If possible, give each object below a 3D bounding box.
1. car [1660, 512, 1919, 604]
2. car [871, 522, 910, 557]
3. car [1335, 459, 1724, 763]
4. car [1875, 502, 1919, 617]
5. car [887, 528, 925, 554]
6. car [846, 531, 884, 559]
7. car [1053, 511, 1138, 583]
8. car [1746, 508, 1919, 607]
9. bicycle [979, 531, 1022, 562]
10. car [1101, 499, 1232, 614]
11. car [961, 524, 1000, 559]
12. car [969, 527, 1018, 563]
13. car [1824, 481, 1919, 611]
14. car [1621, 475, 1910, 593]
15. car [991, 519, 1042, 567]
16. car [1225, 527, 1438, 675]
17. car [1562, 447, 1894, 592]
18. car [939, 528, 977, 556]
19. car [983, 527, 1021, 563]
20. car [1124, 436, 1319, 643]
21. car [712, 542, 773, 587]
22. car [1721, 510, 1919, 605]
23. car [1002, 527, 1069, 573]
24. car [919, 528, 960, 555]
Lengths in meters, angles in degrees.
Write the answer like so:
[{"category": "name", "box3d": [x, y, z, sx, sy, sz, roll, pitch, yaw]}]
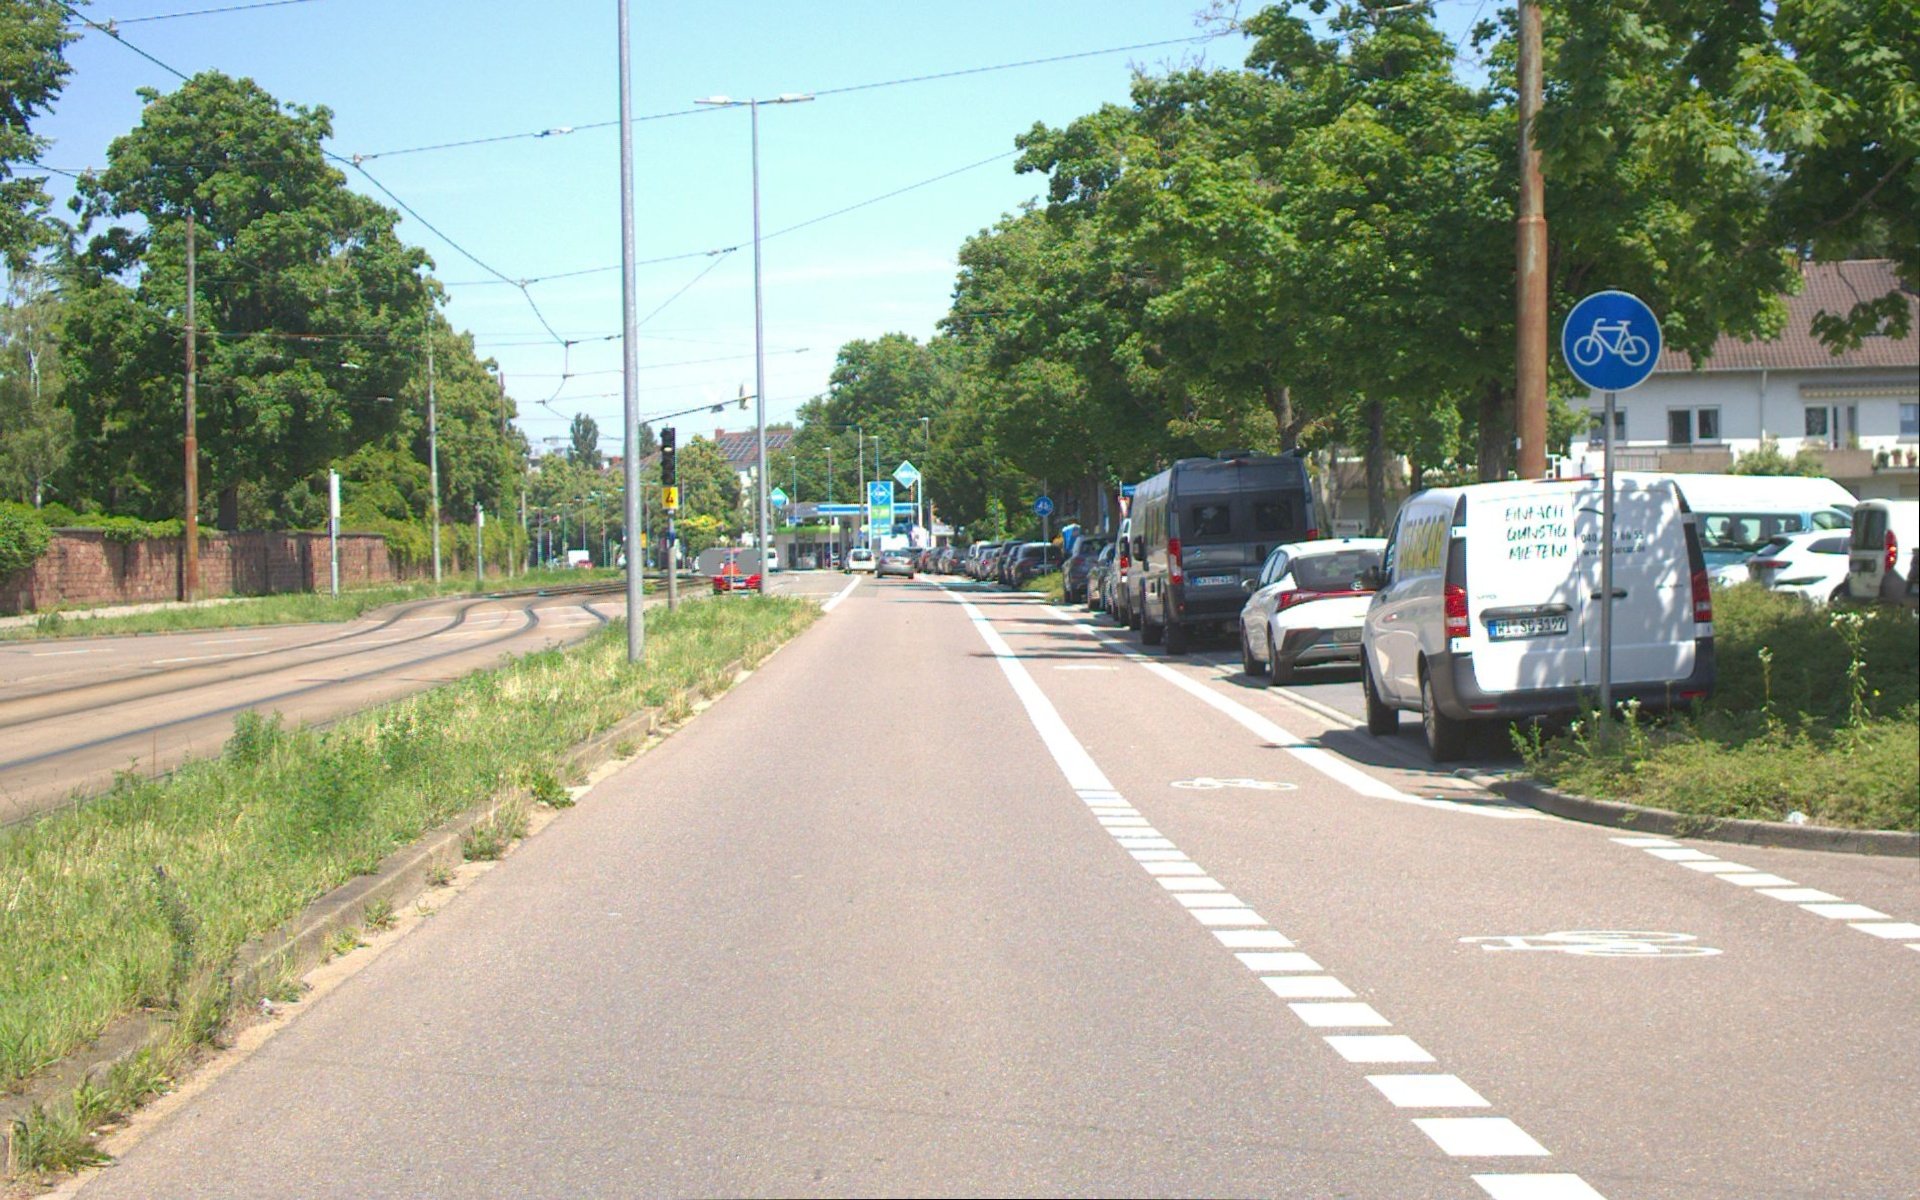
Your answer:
[{"category": "car", "box3d": [13.651, -0.691, 56.415, 3.885, 1.401, 1.728, 1, 1, -5]}, {"category": "car", "box3d": [-3.402, -2.971, 168.037, 1.755, 1.625, 4.324, -3, 1, -2]}, {"category": "car", "box3d": [4.044, 0.013, 25.289, 1.879, 1.910, 5.125, -3, 1, 0]}, {"category": "car", "box3d": [14.687, -0.498, 45.782, 4.405, 1.500, 1.955, 1, 1, -4]}, {"category": "car", "box3d": [-3.557, -3.854, 225.705, 1.755, 1.625, 4.325, -3, 1, -10]}, {"category": "car", "box3d": [-5.875, -3.410, 212.573, 1.755, 1.625, 4.325, -3, 1, -9]}, {"category": "car", "box3d": [3.307, -1.285, 84.541, 1.712, 1.627, 4.709, -3, 1, -1]}, {"category": "car", "box3d": [14.084, -0.618, 51.240, 4.276, 1.401, 1.728, 1, 1, -3]}, {"category": "bicycle", "box3d": [1.798, -2.400, 153.648, 1.774, 1.224, 0.683, -5, 1, 3]}, {"category": "car", "box3d": [3.668, -0.822, 61.943, 1.997, 1.872, 5.276, -3, 1, 1]}, {"category": "car", "box3d": [1.069, -3.110, 181.844, 1.840, 1.688, 4.779, -3, 1, -1]}, {"category": "car", "box3d": [1.564, -2.590, 160.690, 1.840, 1.524, 4.967, -3, 1, -4]}, {"category": "car", "box3d": [14.358, -0.727, 48.367, 3.778, 1.778, 1.955, 1, 1, -5]}, {"category": "car", "box3d": [13.865, -1.133, 59.317, 4.405, 1.902, 1.955, 1, 1, -5]}, {"category": "car", "box3d": [2.191, -2.231, 133.768, 1.840, 1.700, 4.626, -3, 1, 0]}, {"category": "car", "box3d": [3.939, -0.030, 37.046, 1.722, 1.423, 4.209, -3, 1, -1]}, {"category": "car", "box3d": [13.870, -1.459, 62.307, 5.490, 2.451, 2.095, 1, 1, 0]}, {"category": "car", "box3d": [-0.137, -3.357, 198.684, 1.706, 1.487, 5.039, -3, 1, -5]}, {"category": "car", "box3d": [1.906, -2.505, 155.687, 1.519, 1.524, 3.817, -3, 1, -1]}, {"category": "car", "box3d": [3.588, -0.866, 48.299, 1.997, 2.627, 6.079, -3, 1, -1]}, {"category": "car", "box3d": [-7.246, -1.203, 114.659, 1.706, 1.409, 4.282, 0, 1, 1]}, {"category": "car", "box3d": [14.147, -0.660, 54.099, 3.885, 1.401, 1.728, 1, 1, -3]}, {"category": "car", "box3d": [2.522, -1.704, 116.173, 1.840, 1.431, 4.825, -3, 1, -3]}, {"category": "car", "box3d": [-1.271, -3.561, 209.848, 1.706, 1.557, 4.325, -3, 1, -10]}]
